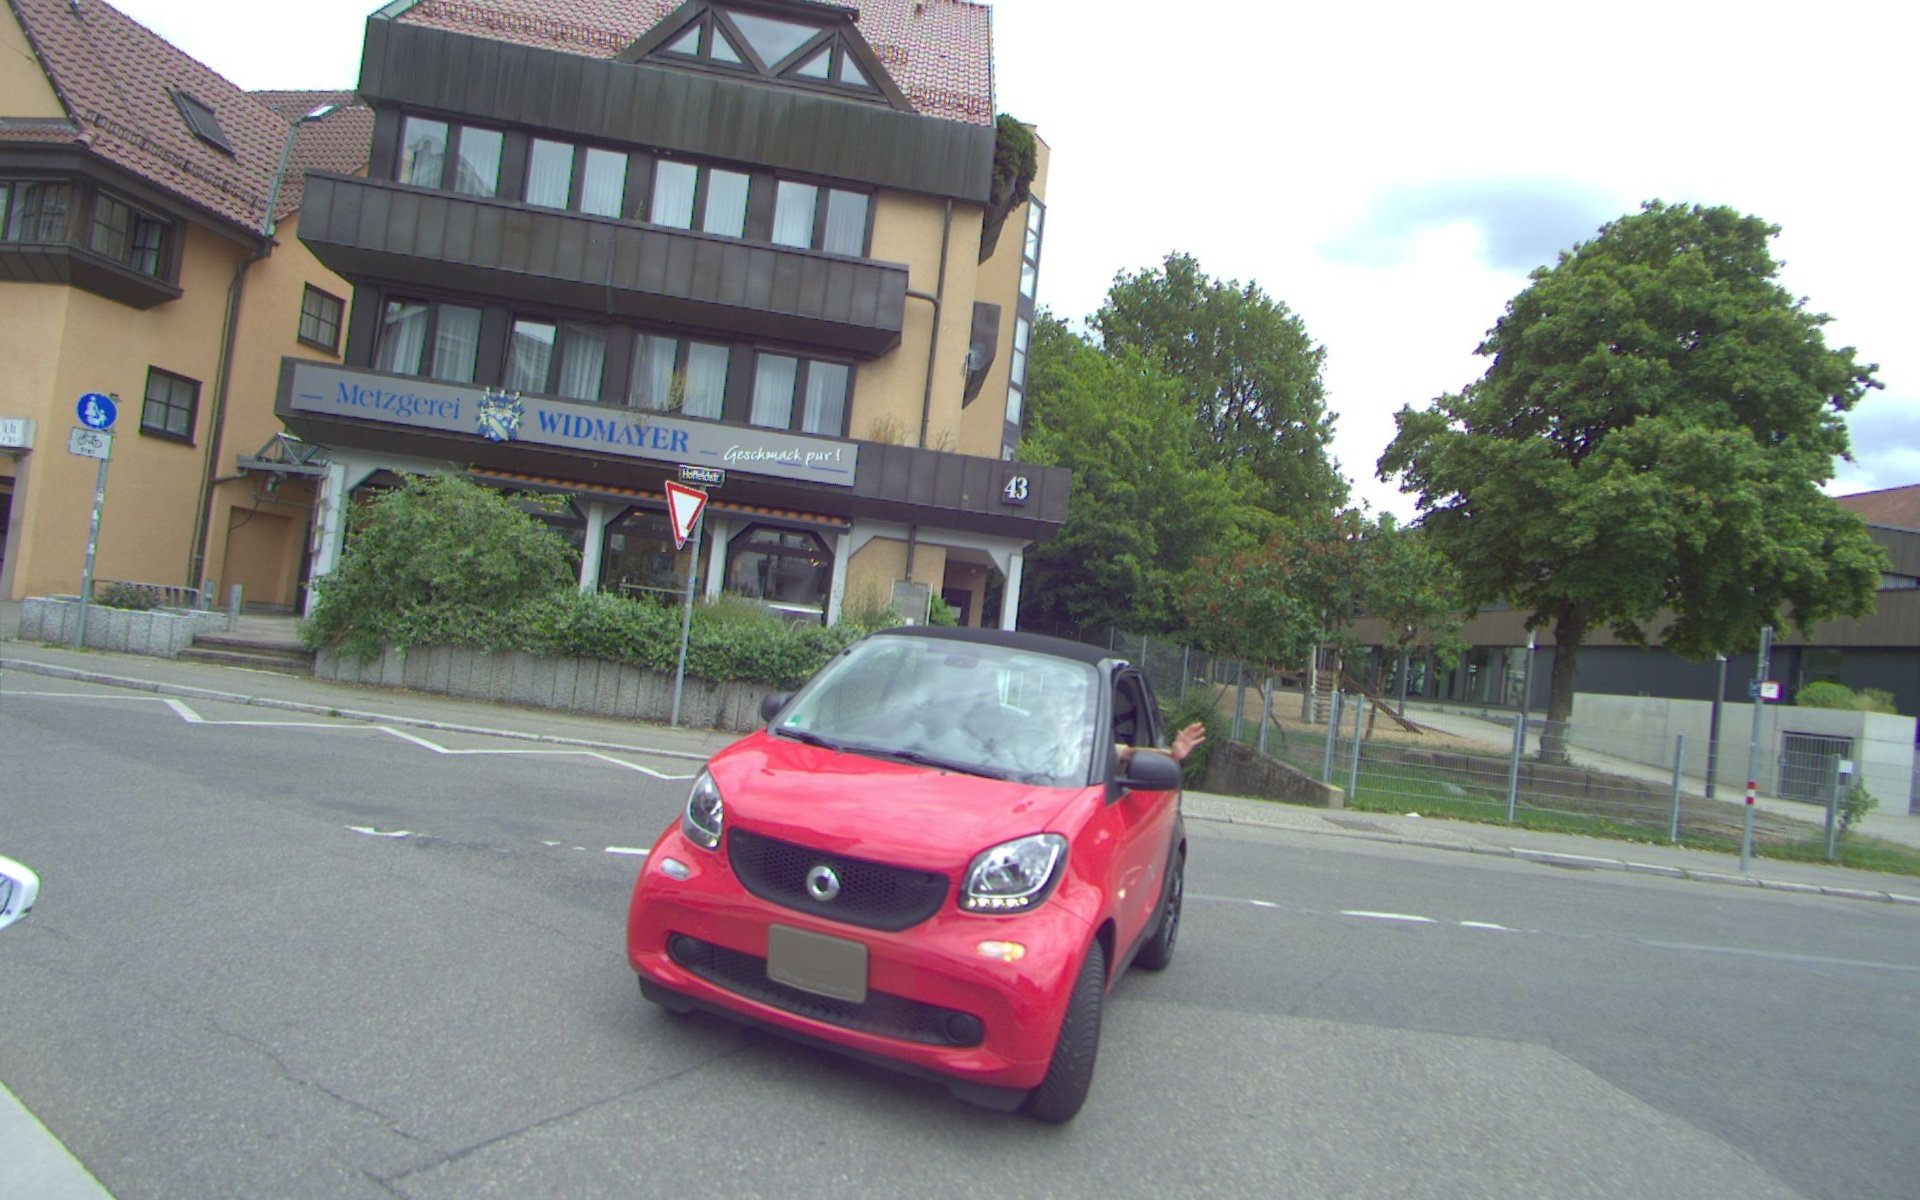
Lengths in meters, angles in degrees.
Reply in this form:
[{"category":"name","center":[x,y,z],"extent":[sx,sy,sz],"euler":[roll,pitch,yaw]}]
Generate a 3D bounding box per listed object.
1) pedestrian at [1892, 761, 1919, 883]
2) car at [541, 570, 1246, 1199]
[{"category":"pedestrian","center":[13.038,2.969,13.038],"extent":[0.943,1.553,0.900],"euler":[8,-2,-5]},{"category":"car","center":[0.064,0.881,4.372],"extent":[1.787,1.538,2.940],"euler":[7,-2,23]}]
